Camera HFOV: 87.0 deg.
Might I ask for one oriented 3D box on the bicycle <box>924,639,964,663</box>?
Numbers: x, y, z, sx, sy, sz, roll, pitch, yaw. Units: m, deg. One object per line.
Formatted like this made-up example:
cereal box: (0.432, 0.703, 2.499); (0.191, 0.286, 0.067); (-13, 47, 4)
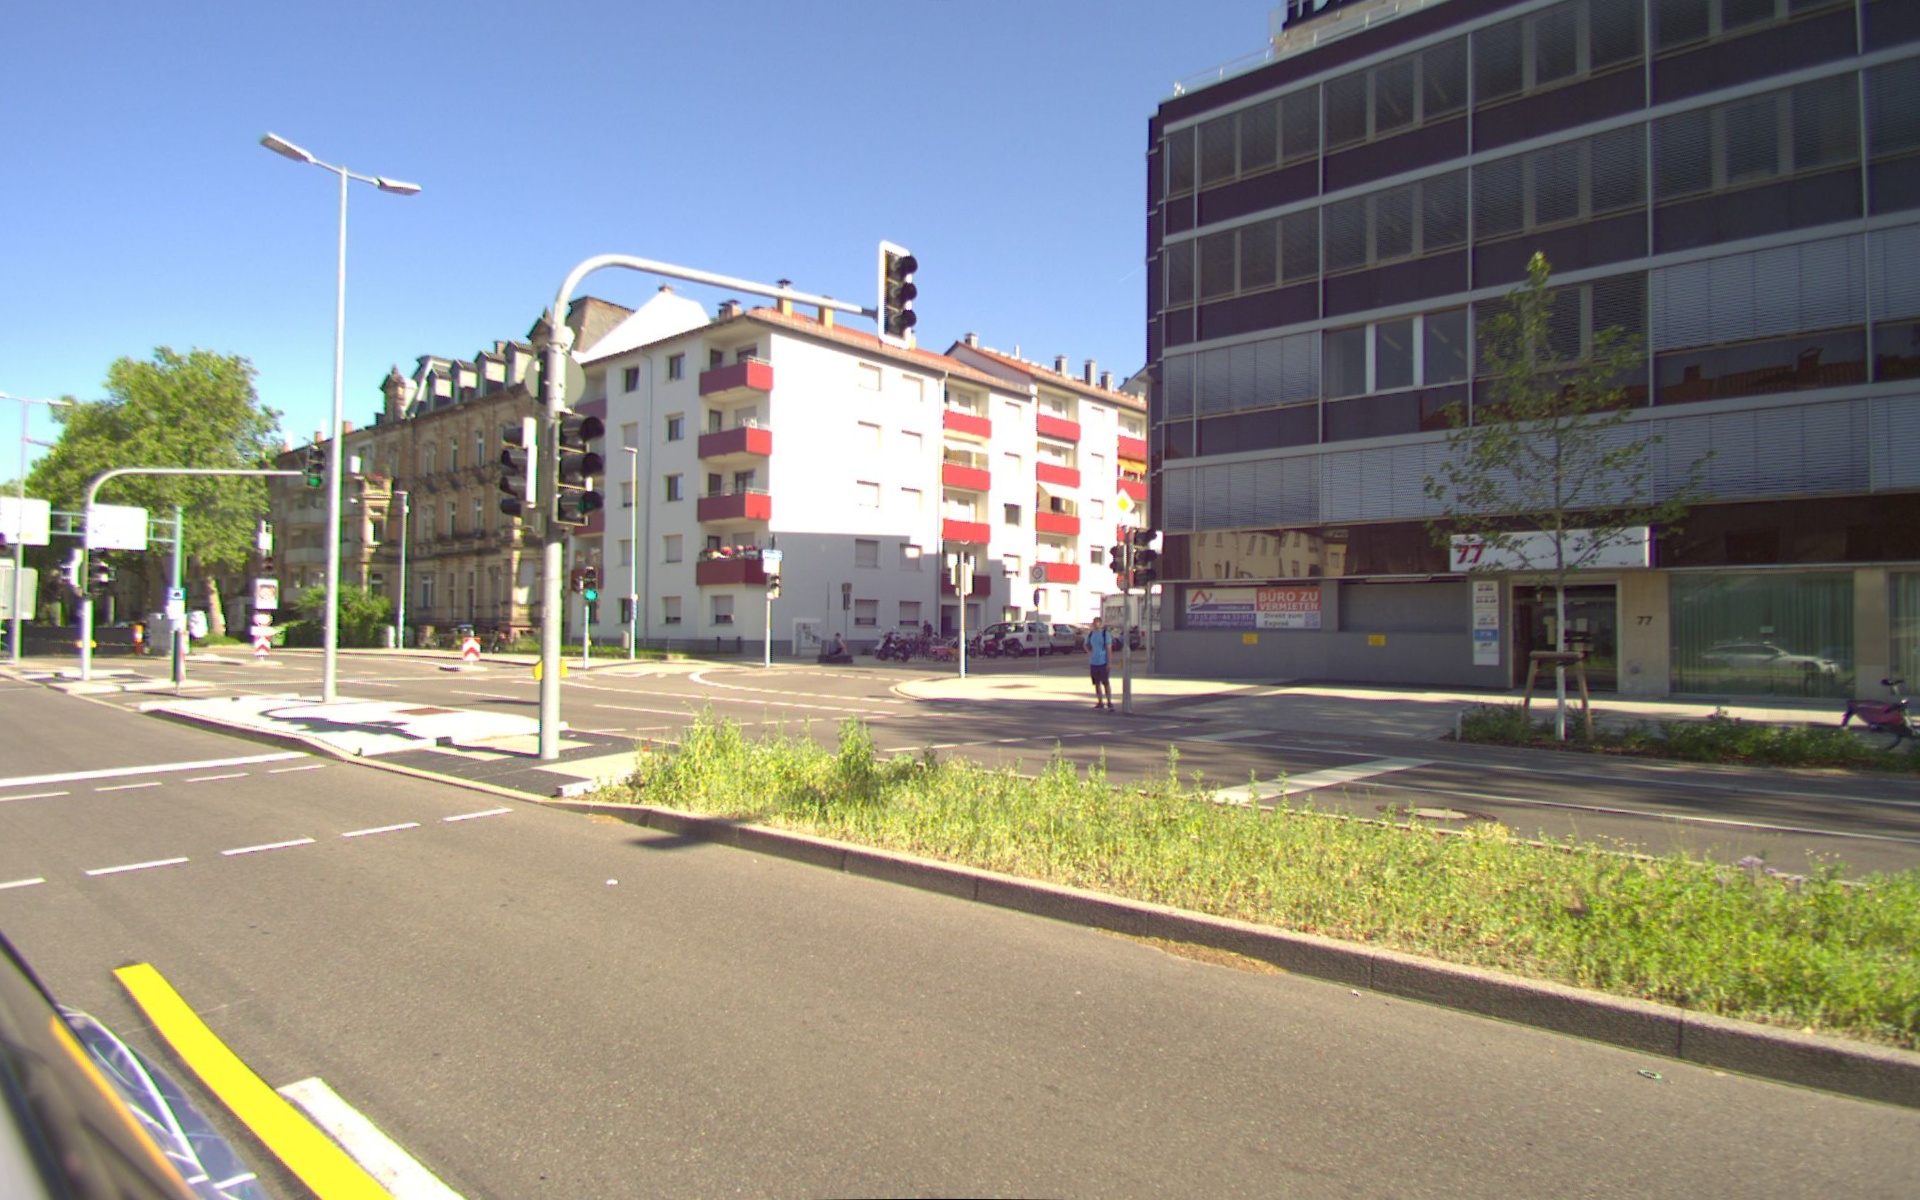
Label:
bicycle: (-0.675, 2.080, 41.488); (0.471, 0.955, 1.954); (2, -2, -41)

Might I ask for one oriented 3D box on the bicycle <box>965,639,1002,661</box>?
bicycle: (0.997, 2.149, 43.730); (1.723, 0.955, 0.453); (-1, -2, 42)

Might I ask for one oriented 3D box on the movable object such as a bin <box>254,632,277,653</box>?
movable object such as a bin: (-46.890, 2.863, 68.331); (1.313, 1.373, 0.884); (-3, -5, 39)

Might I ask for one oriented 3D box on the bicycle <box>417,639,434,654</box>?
bicycle: (-28.510, 2.460, 54.010); (1.413, 0.777, 0.296); (-2, -3, 40)

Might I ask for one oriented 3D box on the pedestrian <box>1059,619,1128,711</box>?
pedestrian: (2.582, 1.235, 19.558); (0.854, 1.724, 1.013); (2, -3, -43)

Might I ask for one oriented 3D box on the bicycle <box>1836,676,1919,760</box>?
bicycle: (12.788, 1.557, 13.307); (1.878, 1.045, 0.620); (-2, -2, 41)

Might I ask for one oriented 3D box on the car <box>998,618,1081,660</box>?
car: (3.817, 1.852, 49.014); (3.793, 1.970, 1.678); (-1, -2, 43)

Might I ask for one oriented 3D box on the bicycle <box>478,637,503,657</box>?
bicycle: (-22.838, 2.290, 49.264); (1.938, 0.965, 0.301); (-2, -3, 40)

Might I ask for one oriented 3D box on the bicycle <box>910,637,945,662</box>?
bicycle: (-1.339, 2.017, 41.318); (0.500, 0.985, 1.889); (1, -2, -34)

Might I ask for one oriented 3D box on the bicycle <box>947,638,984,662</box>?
bicycle: (0.225, 2.120, 43.304); (1.737, 1.011, 0.502); (-2, -2, 45)

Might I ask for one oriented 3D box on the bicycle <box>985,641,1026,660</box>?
bicycle: (1.987, 2.199, 44.251); (1.708, 0.820, 0.412); (0, -2, 16)

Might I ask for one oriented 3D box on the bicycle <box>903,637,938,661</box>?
bicycle: (-1.787, 2.179, 45.212); (1.691, 1.066, 0.568); (-2, -2, 45)

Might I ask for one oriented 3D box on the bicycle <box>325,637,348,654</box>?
bicycle: (-37.987, 2.755, 61.646); (2.247, 1.013, 0.462); (-2, -2, 38)

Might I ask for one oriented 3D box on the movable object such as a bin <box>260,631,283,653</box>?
movable object such as a bin: (-45.860, 2.812, 67.394); (1.473, 1.371, 0.883); (-3, -6, 41)

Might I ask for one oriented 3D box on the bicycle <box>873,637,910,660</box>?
bicycle: (-2.966, 2.091, 43.782); (1.737, 0.976, 0.568); (-2, -2, 45)

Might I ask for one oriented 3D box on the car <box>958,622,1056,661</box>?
car: (2.168, 1.908, 47.454); (1.970, 1.744, 4.482); (2, -2, -44)

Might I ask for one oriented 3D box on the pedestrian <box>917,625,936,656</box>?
pedestrian: (-1.586, 1.939, 48.505); (0.694, 1.508, 0.593); (-2, -2, 43)

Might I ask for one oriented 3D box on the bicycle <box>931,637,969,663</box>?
bicycle: (-0.442, 2.090, 42.479); (1.736, 1.077, 0.483); (-2, -2, 42)

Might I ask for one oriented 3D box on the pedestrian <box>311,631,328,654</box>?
pedestrian: (-38.808, 2.588, 61.320); (1.088, 1.388, 0.561); (-2, -3, 38)

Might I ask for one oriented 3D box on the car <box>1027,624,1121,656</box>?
car: (5.712, 2.003, 51.100); (4.574, 1.541, 1.740); (-2, -2, 42)

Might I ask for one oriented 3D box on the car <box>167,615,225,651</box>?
car: (-56.694, 2.498, 75.079); (5.283, 2.465, 2.221); (-3, -6, 40)

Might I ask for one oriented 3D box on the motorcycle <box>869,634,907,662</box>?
motorcycle: (-2.985, 1.968, 41.980); (0.604, 1.150, 1.786); (1, -2, -41)

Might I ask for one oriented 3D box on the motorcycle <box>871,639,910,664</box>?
motorcycle: (-2.773, 2.037, 40.396); (0.497, 0.943, 1.843); (1, -2, -43)

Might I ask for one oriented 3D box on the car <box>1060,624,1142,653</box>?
car: (7.405, 2.027, 53.304); (3.999, 1.473, 1.823); (-2, -2, 42)

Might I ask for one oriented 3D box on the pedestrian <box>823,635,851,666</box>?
pedestrian: (-4.636, 1.891, 38.190); (0.785, 1.162, 0.713); (-1, -2, 27)
